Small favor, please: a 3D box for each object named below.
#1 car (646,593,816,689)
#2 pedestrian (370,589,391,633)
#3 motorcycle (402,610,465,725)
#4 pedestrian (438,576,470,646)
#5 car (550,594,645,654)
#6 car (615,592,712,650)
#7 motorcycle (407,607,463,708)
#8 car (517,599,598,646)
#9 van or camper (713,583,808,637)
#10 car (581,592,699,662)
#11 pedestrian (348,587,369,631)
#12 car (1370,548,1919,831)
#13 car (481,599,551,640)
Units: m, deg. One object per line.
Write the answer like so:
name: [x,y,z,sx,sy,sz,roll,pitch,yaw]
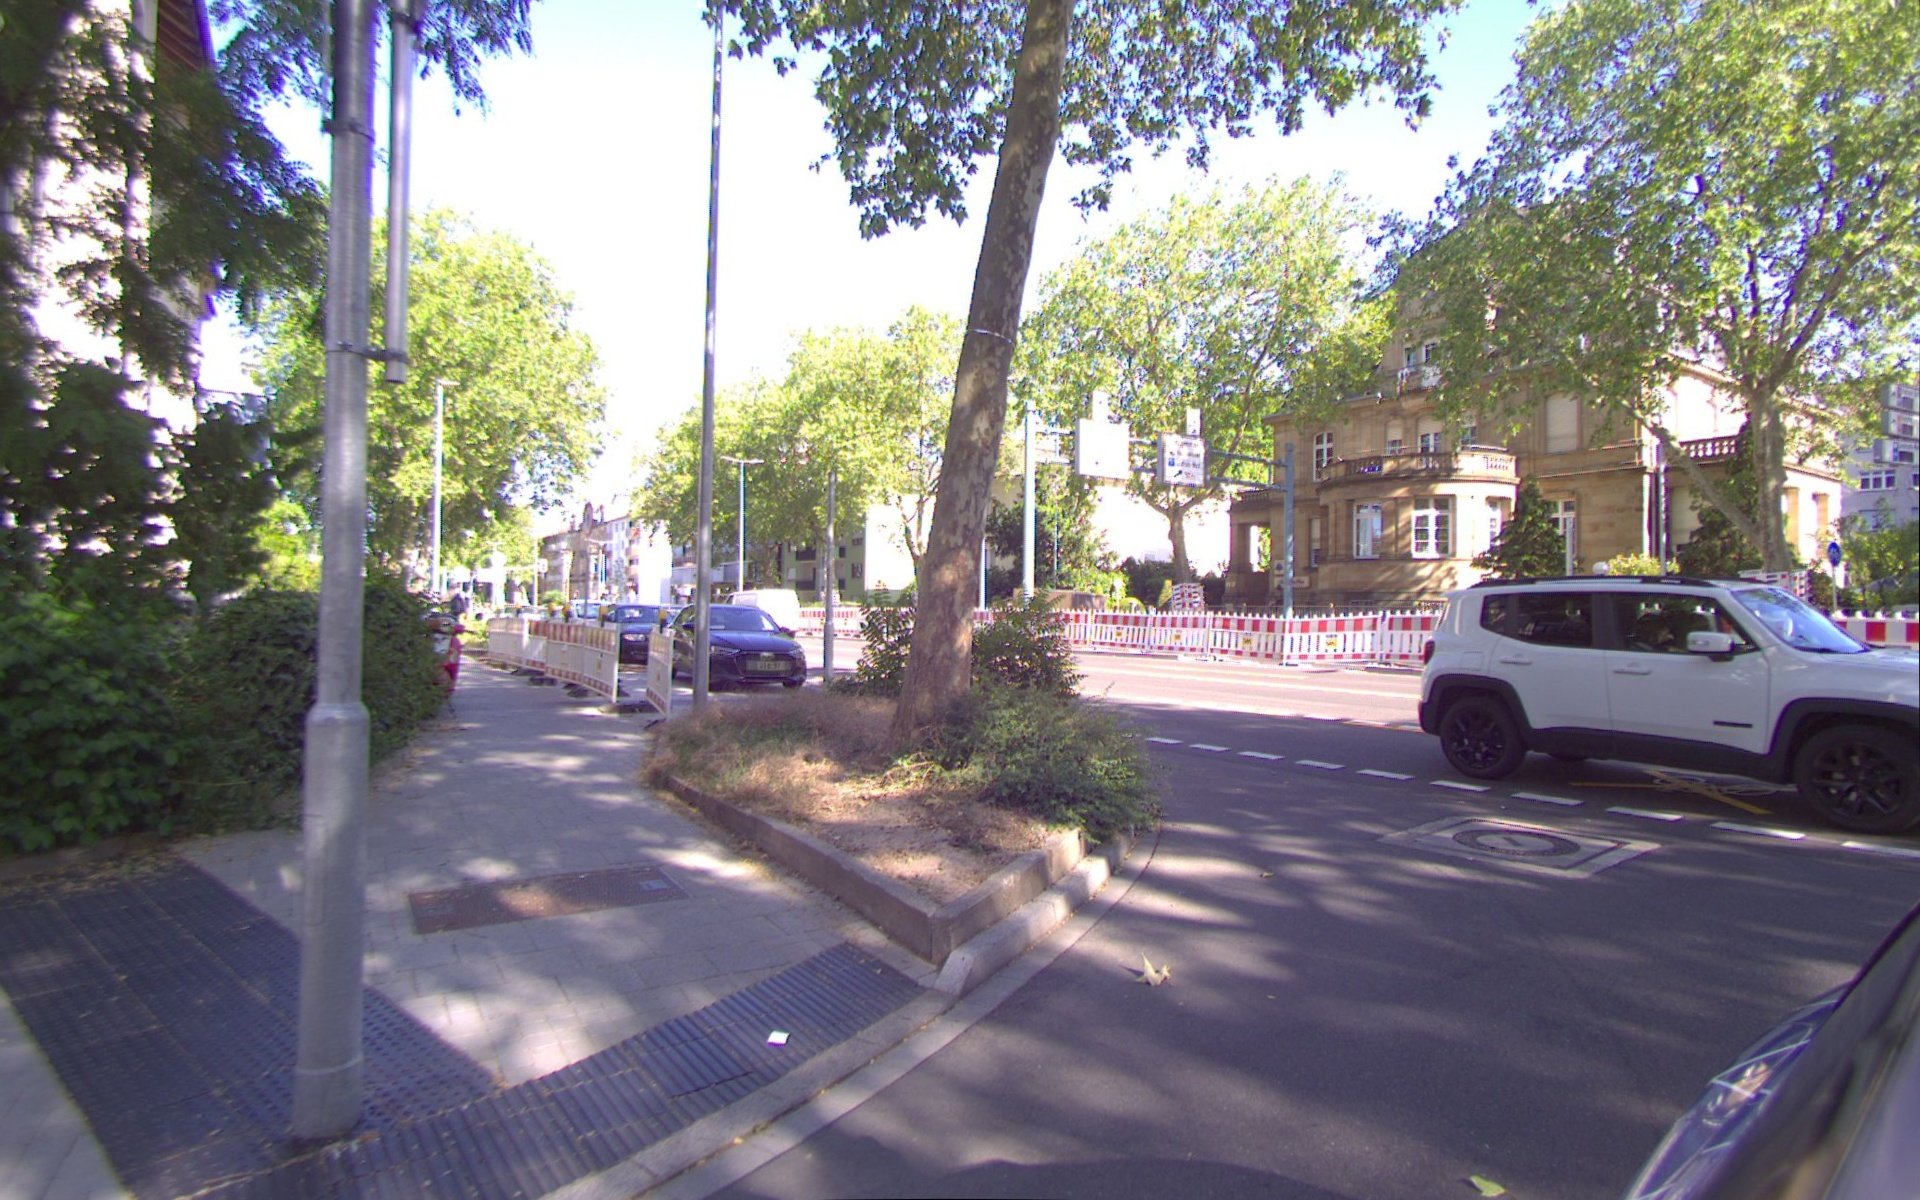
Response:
car: [-4.157,0.671,17.913,1.593,1.505,4.099,3,-2,-33]
pedestrian: [-24.198,0.461,42.285,0.685,1.819,0.715,2,-1,-33]
motorcycle: [-5.972,0.722,11.530,0.586,1.202,1.557,1,-1,-26]
pedestrian: [-13.705,0.301,27.432,0.653,1.873,0.694,2,-2,-33]
car: [-9.993,0.628,27.720,1.593,1.505,3.735,3,-2,-33]
car: [-9.744,0.629,33.077,1.833,1.748,4.508,-1,0,-33]
motorcycle: [-6.804,0.704,13.155,0.586,1.202,1.806,1,-1,-26]
car: [-13.425,0.723,33.640,1.688,1.431,4.050,3,-2,-33]
van or camper: [-8.169,0.364,40.965,1.961,2.039,5.330,0,0,-33]
car: [-7.619,0.611,23.897,1.593,1.505,4.058,3,-2,-33]
pedestrian: [-24.830,0.379,41.790,0.685,1.819,0.802,2,-1,-33]
car: [5.841,0.544,8.099,1.833,1.748,4.508,-1,0,-33]
car: [-17.086,0.727,38.859,1.688,1.431,4.478,5,-3,-33]
